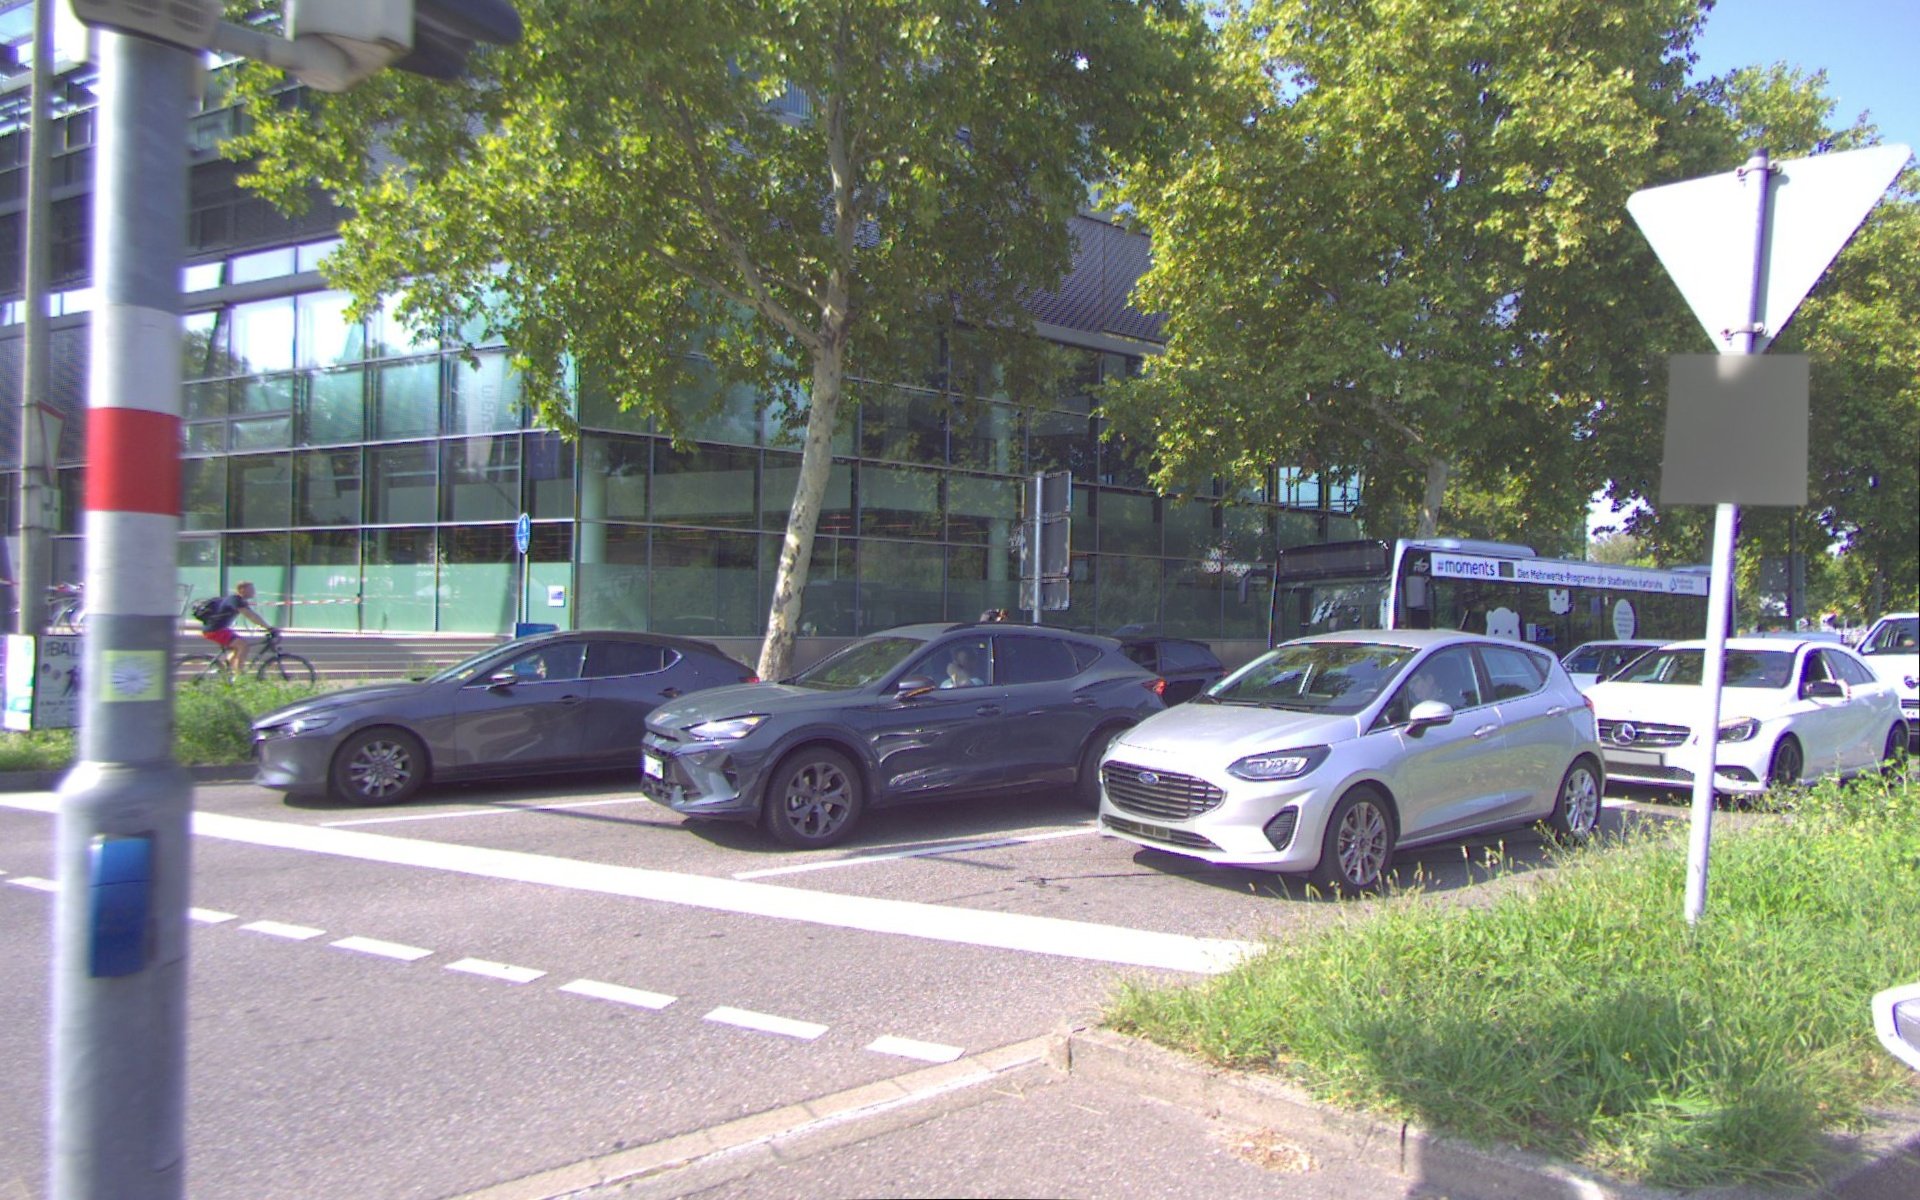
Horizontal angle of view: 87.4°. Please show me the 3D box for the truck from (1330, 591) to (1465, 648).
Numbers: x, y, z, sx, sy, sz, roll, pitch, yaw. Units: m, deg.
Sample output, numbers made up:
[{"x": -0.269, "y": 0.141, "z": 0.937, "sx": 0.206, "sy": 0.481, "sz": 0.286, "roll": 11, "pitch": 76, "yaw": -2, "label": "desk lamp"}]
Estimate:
[{"x": 24.796, "y": 1.145, "z": 56.695, "sx": 9.018, "sy": 2.899, "sz": 1.984, "roll": 2, "pitch": -1, "yaw": -30, "label": "truck"}]

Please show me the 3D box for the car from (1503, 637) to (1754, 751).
[{"x": 9.876, "y": 1.326, "z": 14.787, "sx": 3.780, "sy": 1.486, "sz": 1.697, "roll": 3, "pitch": -4, "yaw": -33, "label": "car"}]

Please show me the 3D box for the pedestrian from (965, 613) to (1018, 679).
[{"x": 0.680, "y": 0.982, "z": 21.552, "sx": 1.021, "sy": 1.367, "sz": 0.495, "roll": 2, "pitch": -1, "yaw": -33, "label": "pedestrian"}]

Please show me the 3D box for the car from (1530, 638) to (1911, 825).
[{"x": 7.386, "y": 1.097, "z": 9.651, "sx": 4.040, "sy": 1.421, "sz": 1.699, "roll": 2, "pitch": -1, "yaw": -34, "label": "car"}]

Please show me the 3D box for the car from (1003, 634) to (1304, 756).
[{"x": 2.701, "y": 1.214, "z": 13.720, "sx": 3.958, "sy": 1.409, "sz": 1.732, "roll": 2, "pitch": -2, "yaw": -34, "label": "car"}]

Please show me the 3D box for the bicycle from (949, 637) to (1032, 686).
[{"x": 0.659, "y": 1.313, "z": 21.537, "sx": 1.812, "sy": 1.021, "sz": 0.500, "roll": 2, "pitch": -1, "yaw": -33, "label": "bicycle"}]

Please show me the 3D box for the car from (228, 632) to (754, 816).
[{"x": -4.176, "y": 1.010, "z": 9.340, "sx": 4.116, "sy": 1.370, "sz": 1.699, "roll": 2, "pitch": -3, "yaw": -34, "label": "car"}]

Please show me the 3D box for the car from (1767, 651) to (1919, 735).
[{"x": 17.373, "y": 1.732, "z": 19.304, "sx": 4.143, "sy": 1.451, "sz": 1.638, "roll": 3, "pitch": -3, "yaw": -32, "label": "car"}]

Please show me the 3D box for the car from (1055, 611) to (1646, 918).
[{"x": 2.706, "y": 0.913, "z": 6.714, "sx": 3.955, "sy": 1.515, "sz": 1.635, "roll": 2, "pitch": -3, "yaw": -32, "label": "car"}]

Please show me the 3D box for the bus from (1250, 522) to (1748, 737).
[{"x": 10.702, "y": 0.656, "z": 18.932, "sx": 12.177, "sy": 3.120, "sz": 2.576, "roll": 3, "pitch": -1, "yaw": -32, "label": "bus"}]

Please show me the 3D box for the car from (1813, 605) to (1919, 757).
[{"x": 13.929, "y": 1.100, "z": 13.917, "sx": 4.838, "sy": 1.888, "sz": 1.901, "roll": 2, "pitch": -3, "yaw": -33, "label": "car"}]

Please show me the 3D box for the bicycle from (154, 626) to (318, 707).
[{"x": -10.582, "y": 0.970, "z": 14.768, "sx": 1.867, "sy": 1.125, "sz": 0.652, "roll": 3, "pitch": -1, "yaw": -32, "label": "bicycle"}]

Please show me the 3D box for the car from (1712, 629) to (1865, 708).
[{"x": 21.755, "y": 1.782, "z": 26.320, "sx": 4.696, "sy": 1.912, "sz": 1.695, "roll": 3, "pitch": -3, "yaw": -32, "label": "car"}]

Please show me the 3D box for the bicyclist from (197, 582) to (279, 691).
[{"x": -10.586, "y": 0.532, "z": 14.762, "sx": 0.876, "sy": 1.538, "sz": 0.651, "roll": 2, "pitch": -1, "yaw": -32, "label": "bicyclist"}]

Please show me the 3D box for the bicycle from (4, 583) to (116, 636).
[{"x": -19.759, "y": 0.219, "z": 22.110, "sx": 0.516, "sy": 1.108, "sz": 1.869, "roll": 2, "pitch": -1, "yaw": 11, "label": "bicycle"}]

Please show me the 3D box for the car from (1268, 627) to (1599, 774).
[{"x": 5.821, "y": 1.142, "z": 12.250, "sx": 3.954, "sy": 1.461, "sz": 1.698, "roll": 2, "pitch": 0, "yaw": -31, "label": "car"}]

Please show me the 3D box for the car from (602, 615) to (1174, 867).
[{"x": -0.455, "y": 0.939, "z": 8.038, "sx": 4.219, "sy": 1.523, "sz": 1.844, "roll": 2, "pitch": -2, "yaw": -34, "label": "car"}]
